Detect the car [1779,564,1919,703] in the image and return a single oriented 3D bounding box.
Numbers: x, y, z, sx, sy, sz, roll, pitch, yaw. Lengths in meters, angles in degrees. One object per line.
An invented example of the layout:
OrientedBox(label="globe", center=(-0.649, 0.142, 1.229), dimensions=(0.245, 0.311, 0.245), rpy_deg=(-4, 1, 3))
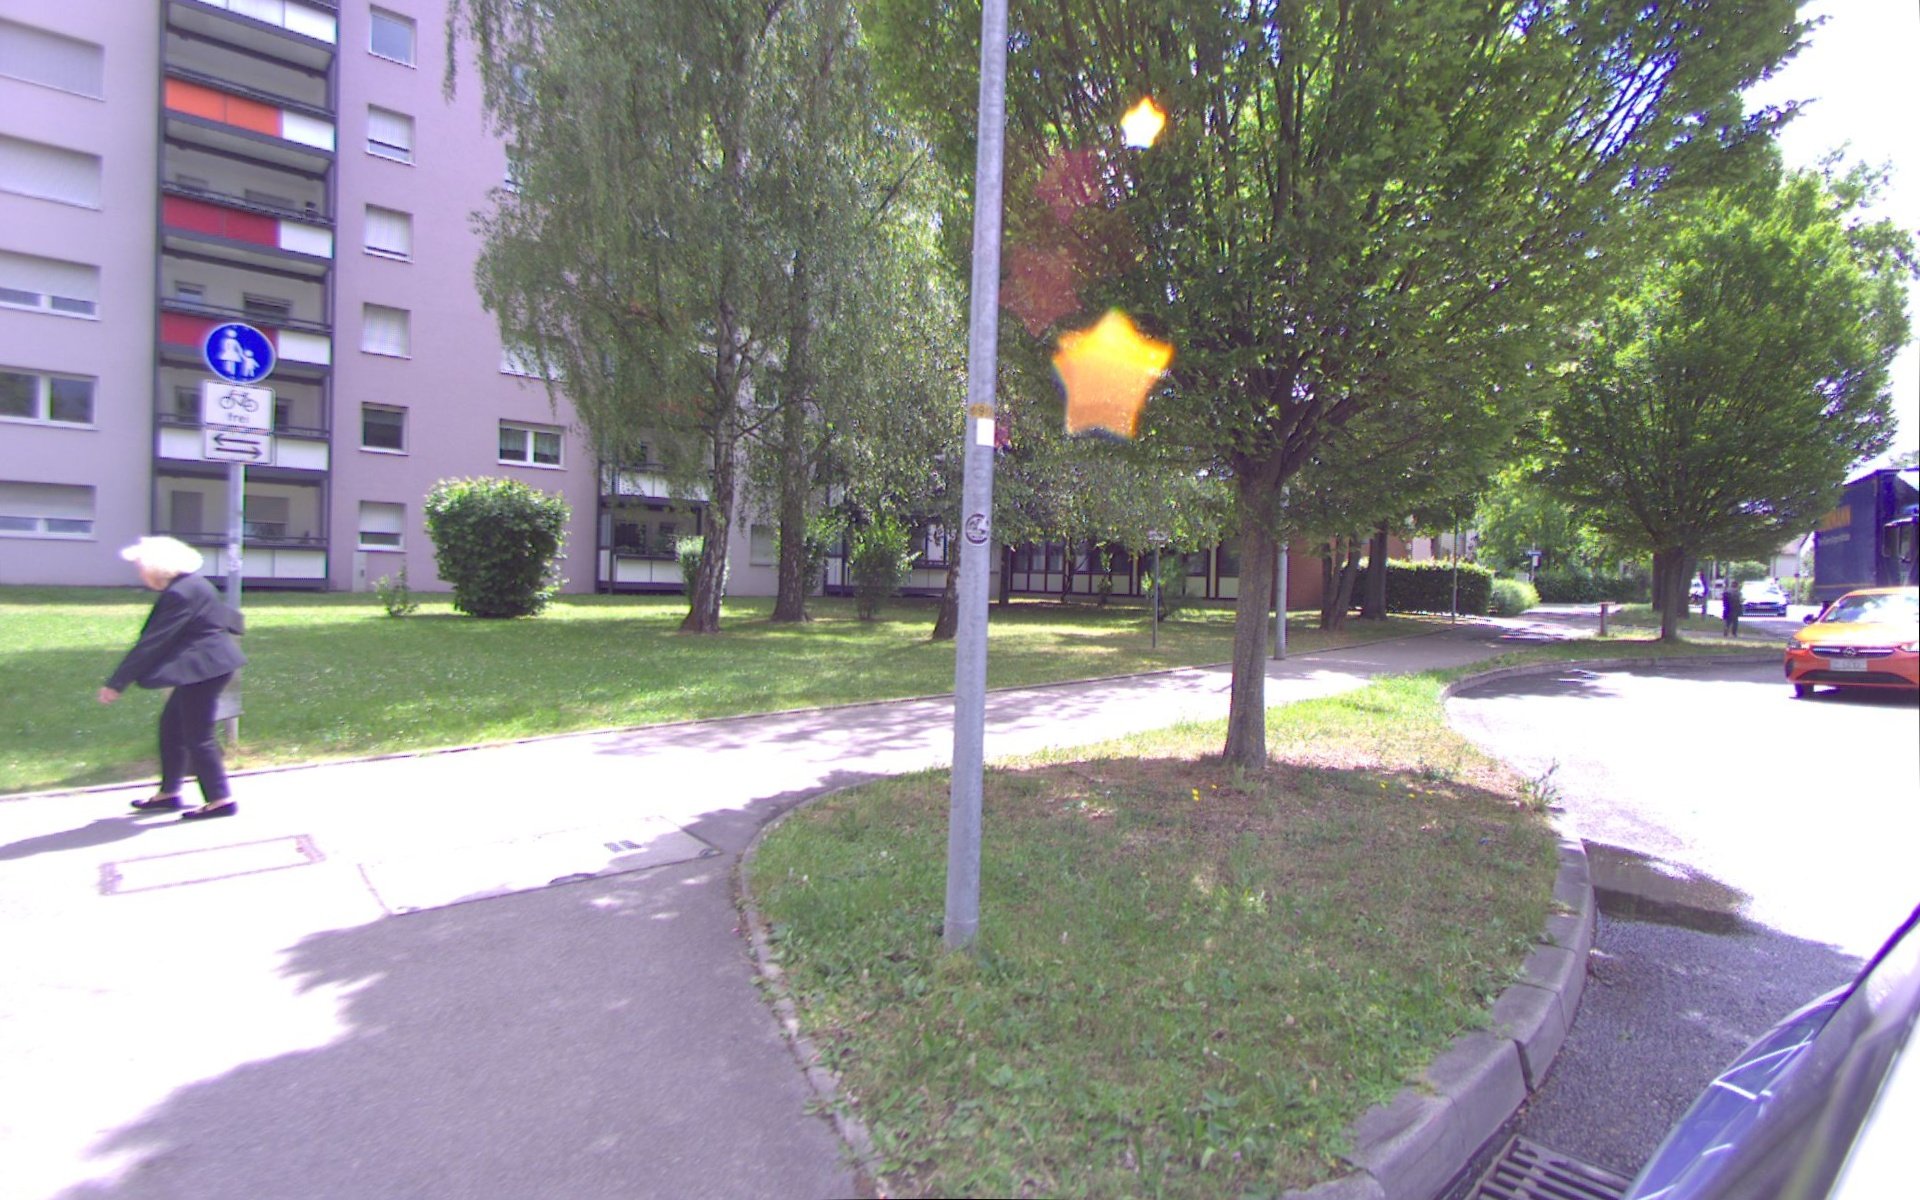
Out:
OrientedBox(label="car", center=(13.047, 0.351, 13.726), dimensions=(3.922, 1.576, 1.769), rpy_deg=(-3, 3, -31))

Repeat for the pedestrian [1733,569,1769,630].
OrientedBox(label="pedestrian", center=(21.326, -0.026, 27.288), dimensions=(0.717, 1.598, 0.829), rpy_deg=(1, 3, 39))

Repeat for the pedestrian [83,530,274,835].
OrientedBox(label="pedestrian", center=(-4.323, 0.400, 5.668), dimensions=(0.788, 1.538, 0.875), rpy_deg=(0, 2, -34))

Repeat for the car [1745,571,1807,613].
OrientedBox(label="car", center=(36.947, -0.356, 45.900), dimensions=(1.989, 1.697, 3.946), rpy_deg=(3, 0, 37))

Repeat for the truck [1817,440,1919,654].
OrientedBox(label="truck", center=(22.539, -0.975, 23.378), dimensions=(2.769, 4.205, 9.683), rpy_deg=(2, 0, 32))
